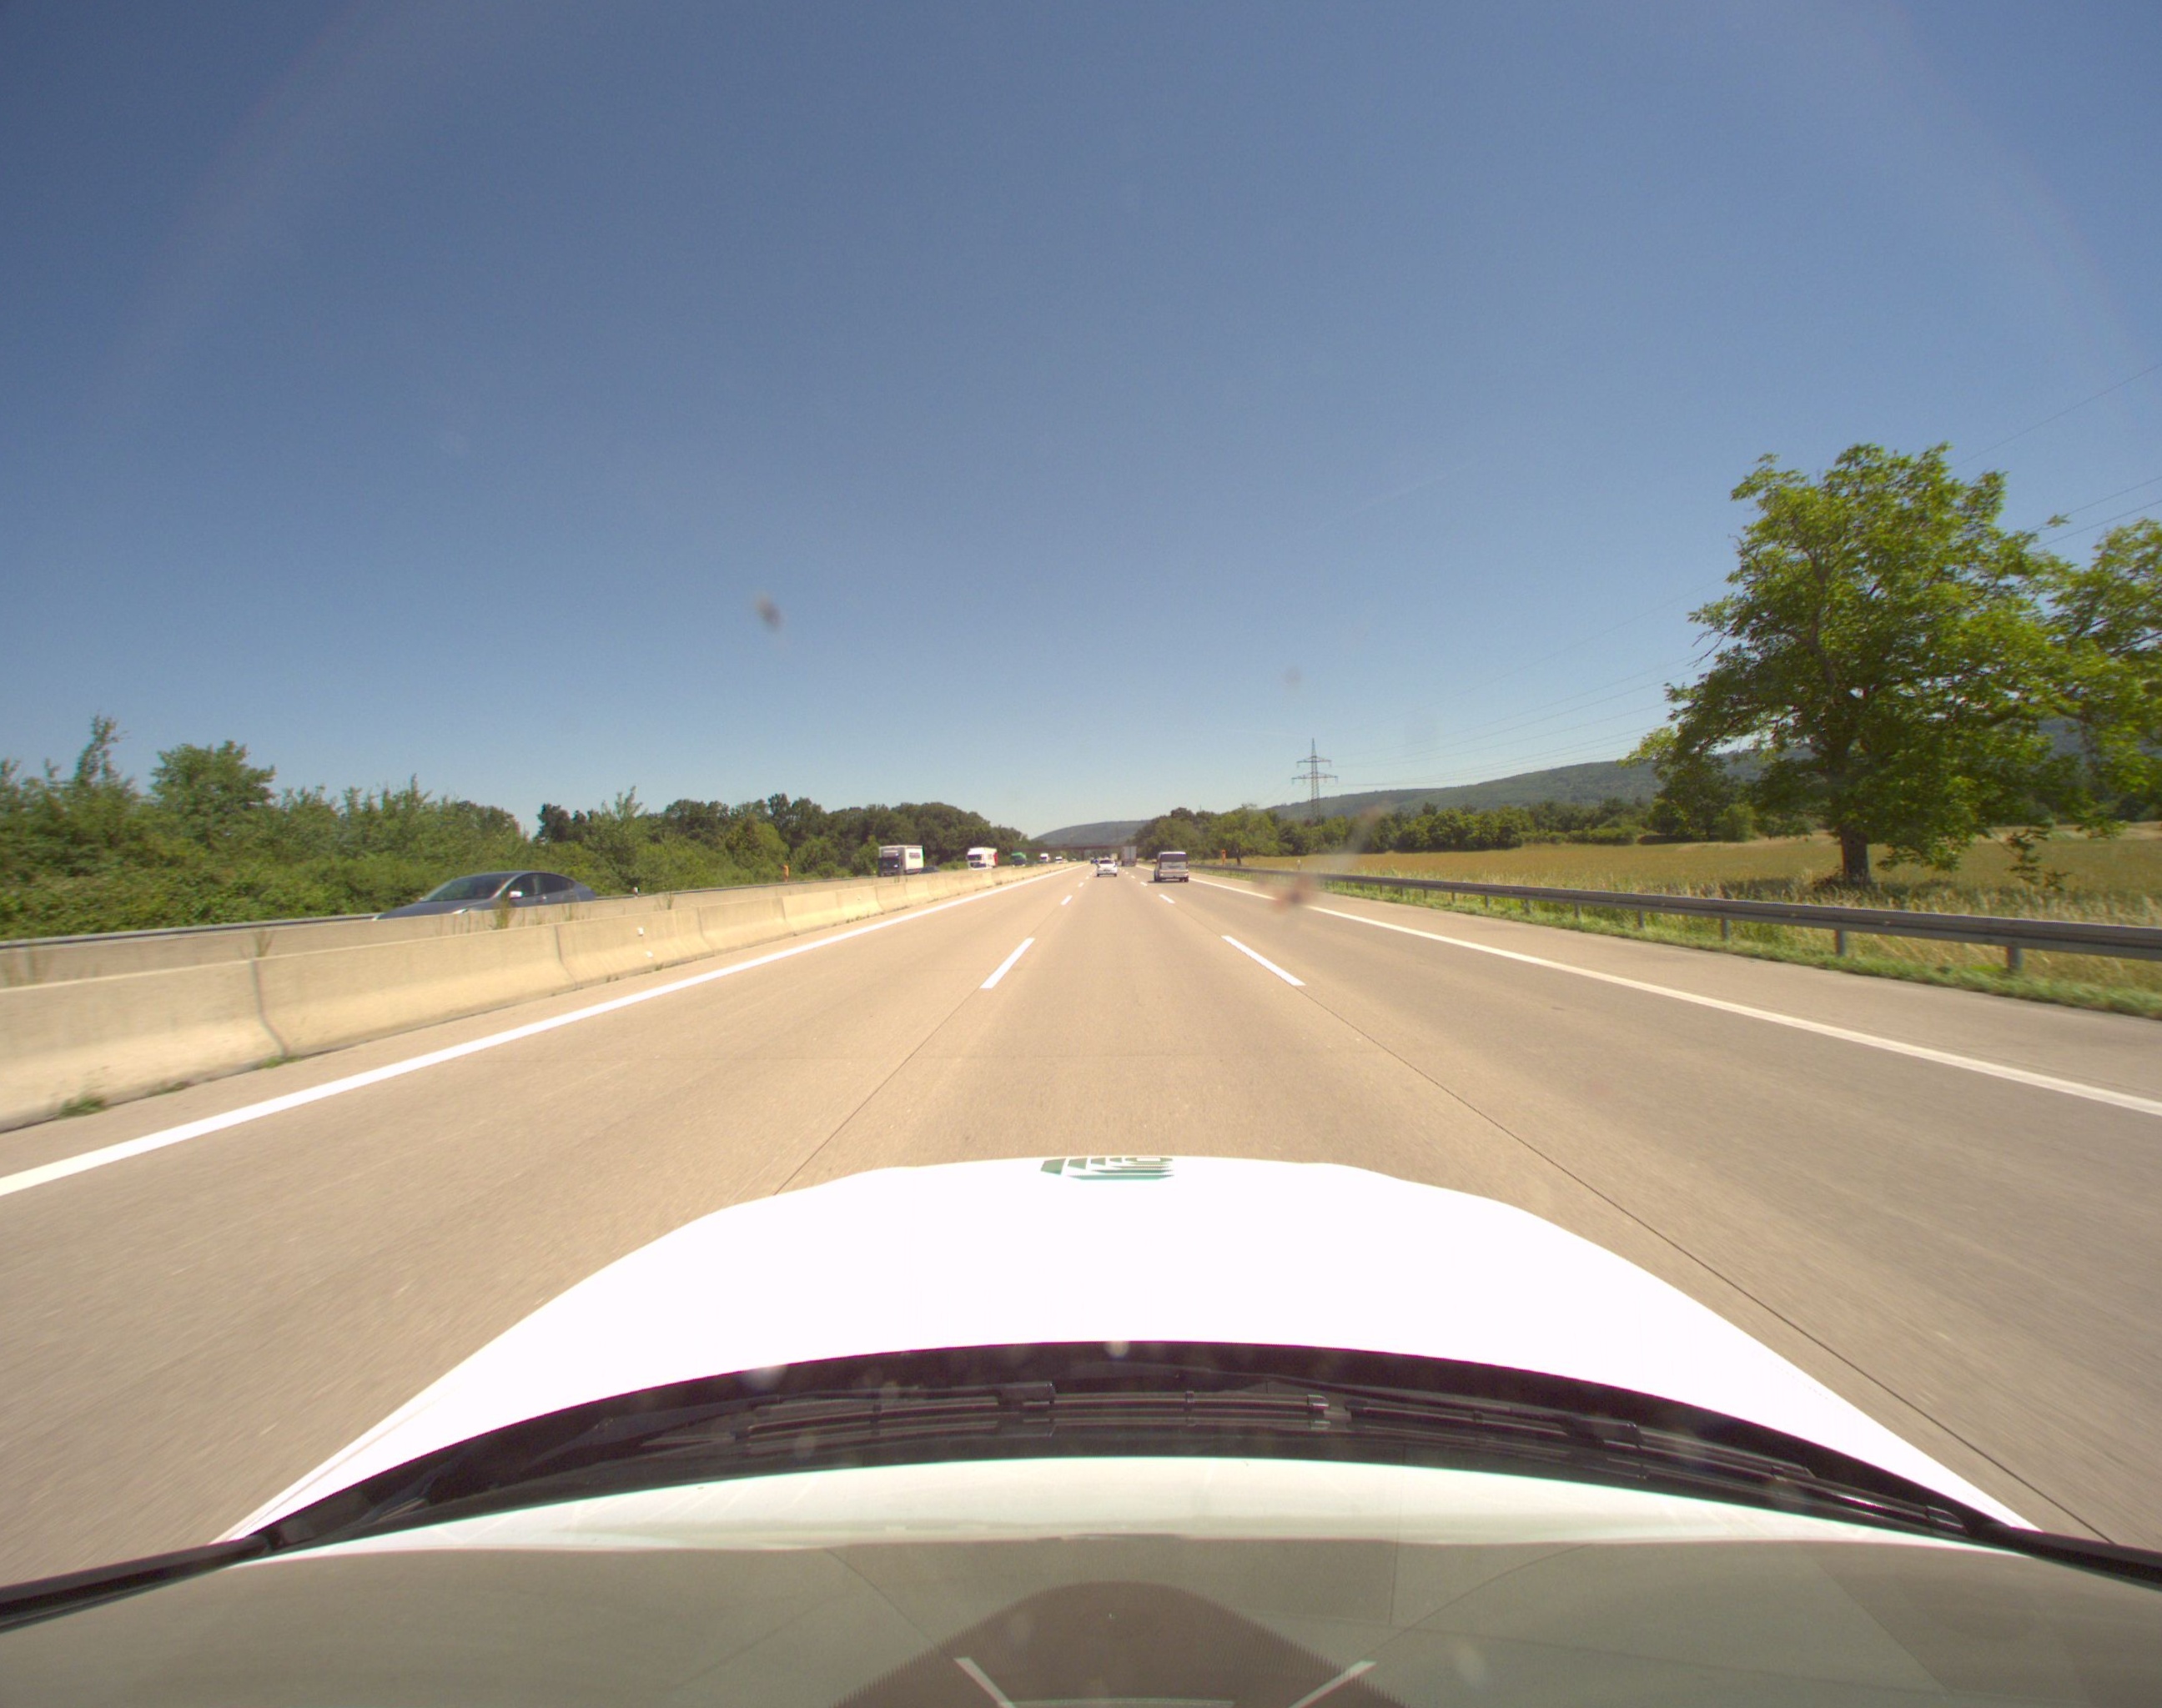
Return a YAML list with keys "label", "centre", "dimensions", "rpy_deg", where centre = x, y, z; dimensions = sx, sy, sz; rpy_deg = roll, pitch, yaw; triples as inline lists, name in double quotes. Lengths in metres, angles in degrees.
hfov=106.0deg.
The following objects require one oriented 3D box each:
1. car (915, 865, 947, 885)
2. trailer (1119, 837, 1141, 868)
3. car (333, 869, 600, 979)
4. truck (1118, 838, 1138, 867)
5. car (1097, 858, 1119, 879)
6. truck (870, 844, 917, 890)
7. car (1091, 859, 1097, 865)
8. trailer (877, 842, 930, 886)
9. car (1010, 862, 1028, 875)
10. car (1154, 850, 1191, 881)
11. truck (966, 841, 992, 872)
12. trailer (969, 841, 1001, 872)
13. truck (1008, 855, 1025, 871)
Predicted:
- label: "car"
  centre: [-14.107, 1.954, 76.816]
  dimensions: [1.986, 1.757, 4.717]
  rpy_deg: [-1, 0, 2]
- label: "trailer"
  centre: [9.562, -0.220, 160.426]
  dimensions: [3.709, 5.811, 12.161]
  rpy_deg: [-1, 0, 0]
- label: "car"
  centre: [-11.927, 1.257, 16.273]
  dimensions: [1.922, 1.794, 4.398]
  rpy_deg: [-1, 0, 1]
- label: "truck"
  centre: [9.599, -0.222, 167.108]
  dimensions: [3.709, 5.811, 7.053]
  rpy_deg: [-1, 0, 0]
- label: "car"
  centre: [2.258, 1.206, 69.353]
  dimensions: [1.813, 1.661, 4.001]
  rpy_deg: [-1, 0, 1]
- label: "truck"
  centre: [-17.529, 1.149, 76.422]
  dimensions: [2.942, 4.127, 5.088]
  rpy_deg: [-1, 0, 2]
- label: "car"
  centre: [3.925, 2.425, 246.043]
  dimensions: [1.922, 1.794, 4.001]
  rpy_deg: [-1, 0, 1]
- label: "trailer"
  centre: [-17.400, 0.902, 80.425]
  dimensions: [2.942, 4.105, 8.488]
  rpy_deg: [-1, 0, 2]
- label: "car"
  centre: [-8.736, 1.983, 114.371]
  dimensions: [1.986, 1.795, 4.469]
  rpy_deg: [-1, 0, 2]
- label: "car"
  centre: [5.709, 0.711, 51.264]
  dimensions: [1.986, 1.849, 4.001]
  rpy_deg: [0, 0, 1]
- label: "truck"
  centre: [-15.957, 0.376, 128.032]
  dimensions: [3.070, 4.762, 6.501]
  rpy_deg: [-1, 0, 2]
- label: "trailer"
  centre: [-15.711, 0.371, 134.588]
  dimensions: [3.070, 4.762, 14.380]
  rpy_deg: [-1, 0, 2]
- label: "truck"
  centre: [-15.341, 2.187, 194.060]
  dimensions: [3.038, 3.634, 7.979]
  rpy_deg: [-1, 0, 1]
